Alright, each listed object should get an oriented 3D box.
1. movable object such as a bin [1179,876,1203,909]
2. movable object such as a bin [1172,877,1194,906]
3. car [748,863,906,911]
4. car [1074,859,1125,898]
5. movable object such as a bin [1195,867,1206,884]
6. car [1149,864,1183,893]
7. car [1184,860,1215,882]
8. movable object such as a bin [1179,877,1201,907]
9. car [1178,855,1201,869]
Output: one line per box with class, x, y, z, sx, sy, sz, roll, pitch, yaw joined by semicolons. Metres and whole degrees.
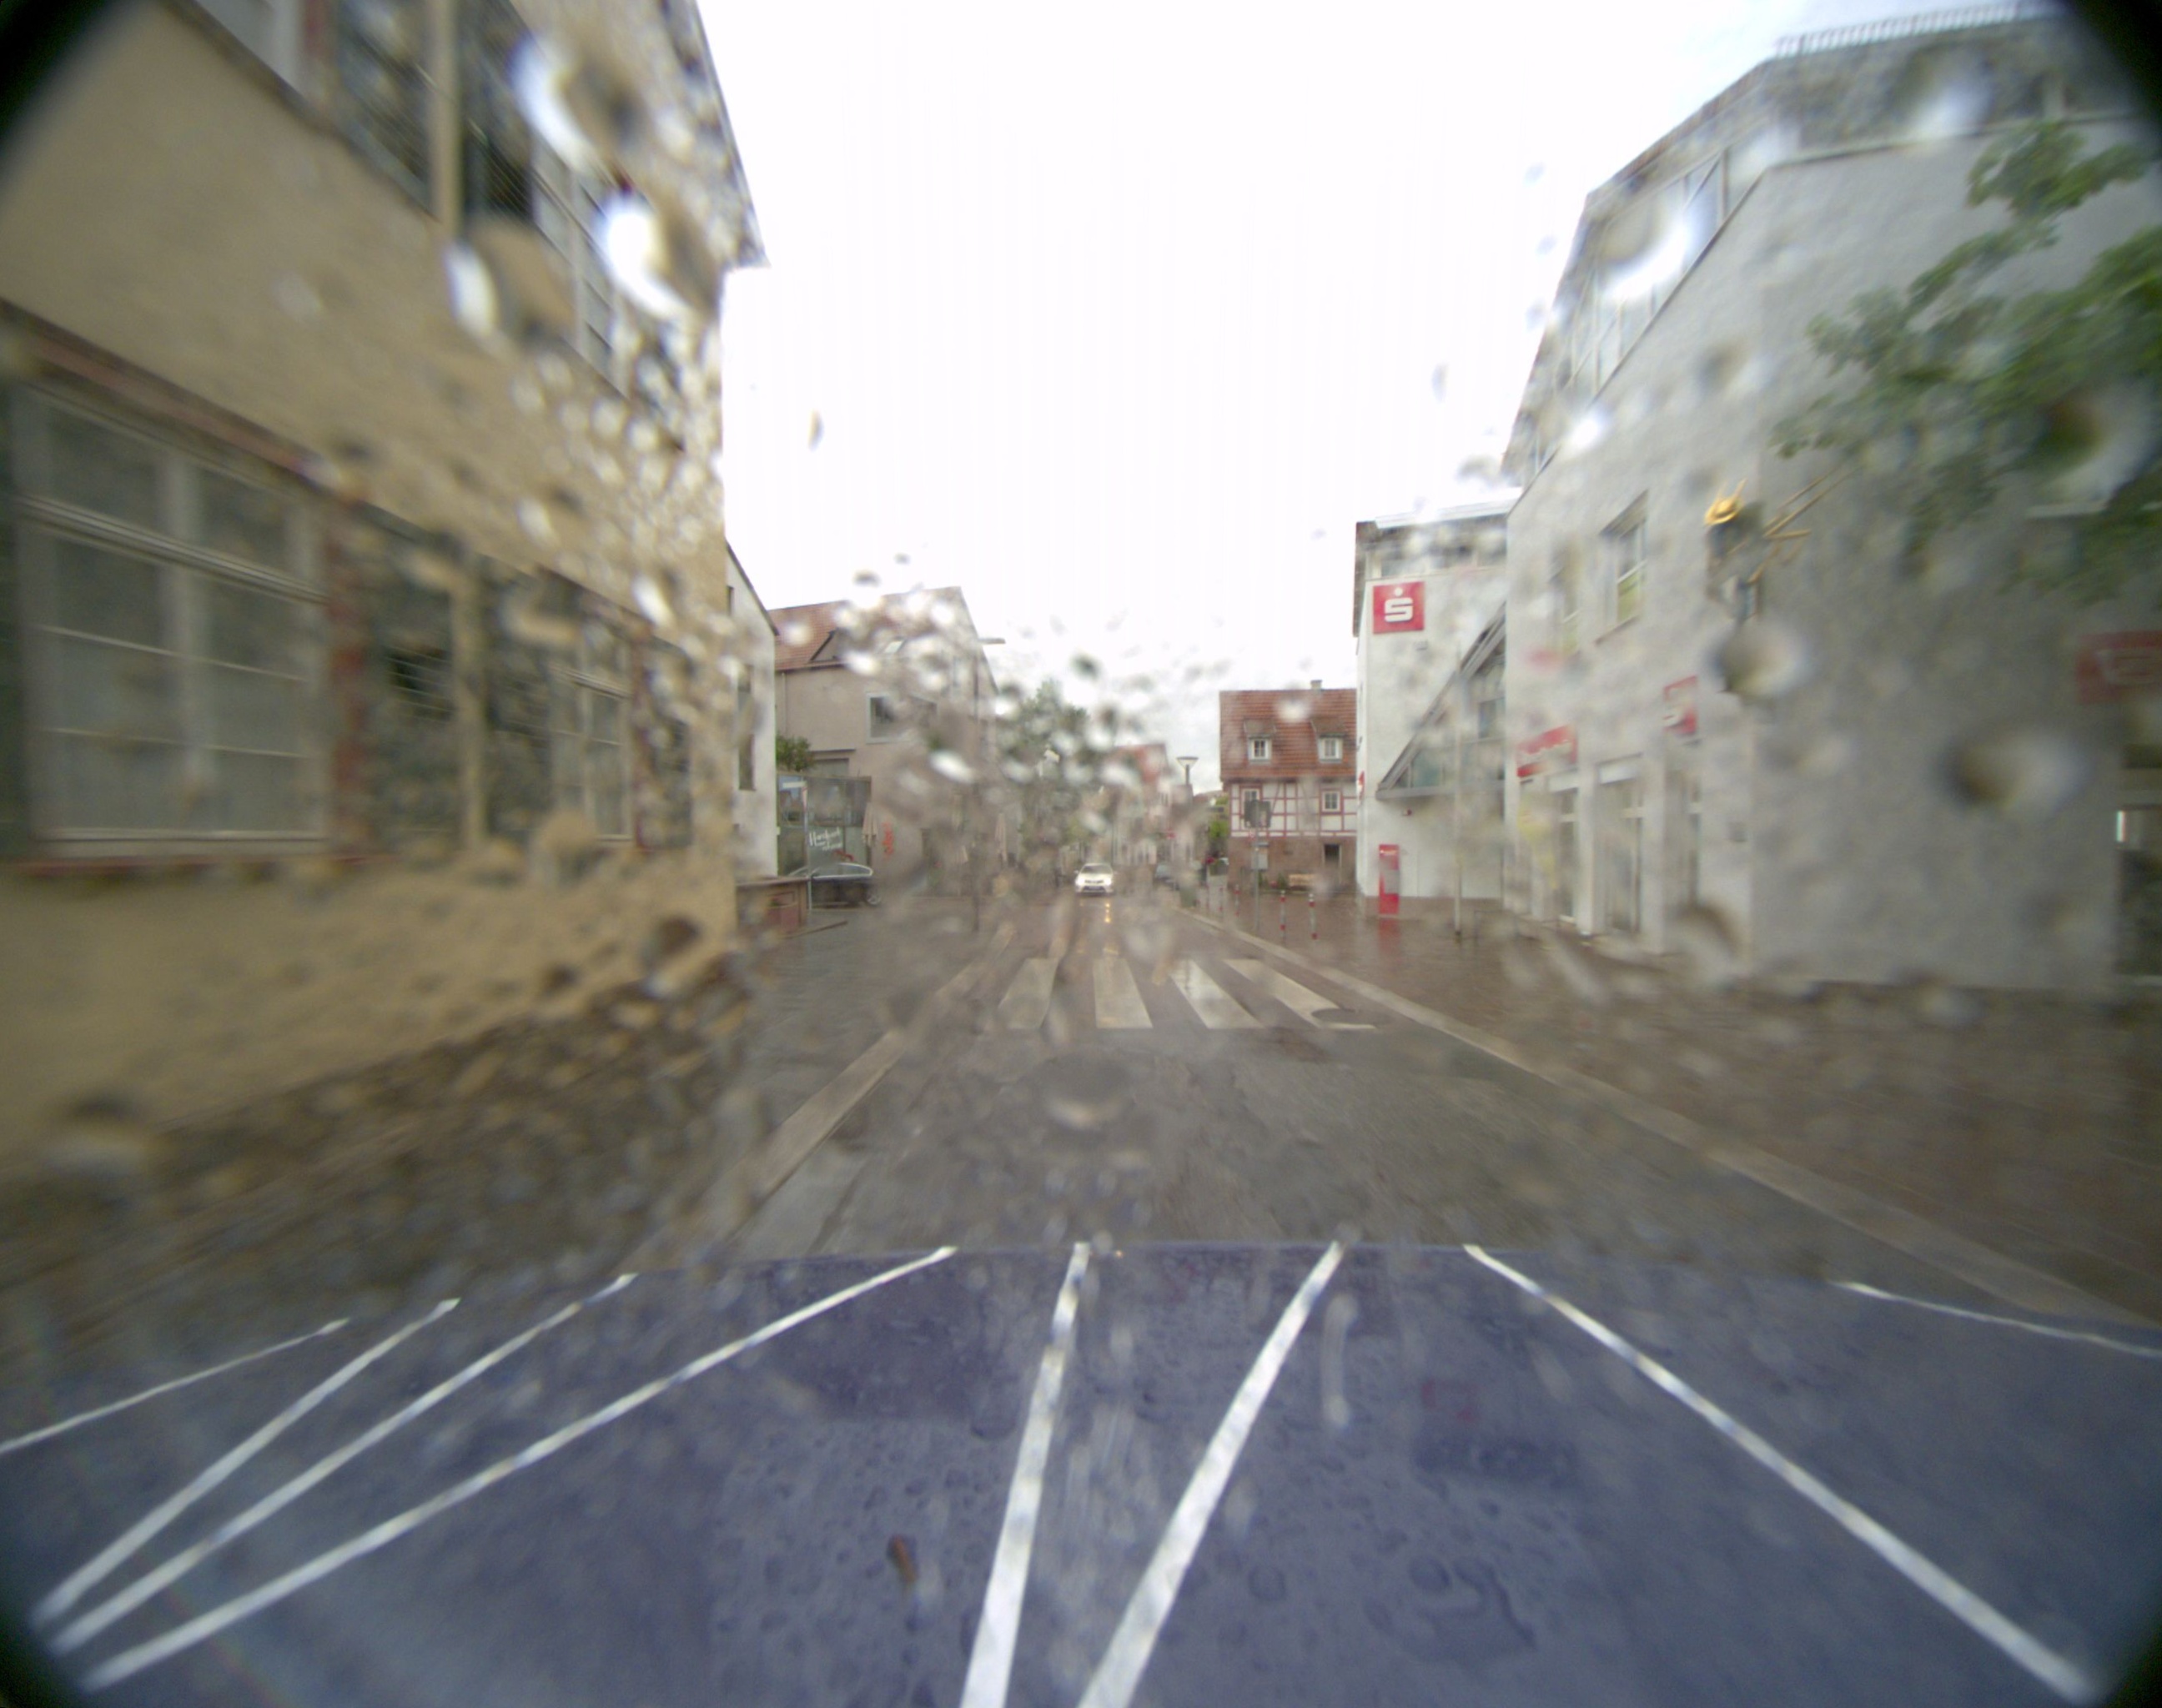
movable object such as a bin;3.808;1.331;26.255;0.697;1.070;0.645;-2;1;1
movable object such as a bin;3.735;1.366;27.862;0.697;1.041;0.645;1;1;1
car;-8.091;1.000;24.497;4.455;1.362;1.875;0;0;-42
car;0.909;1.053;34.494;1.867;1.577;4.617;1;0;7
movable object such as a bin;7.337;1.319;46.652;0.612;1.016;0.530;1;1;1
car;4.768;1.346;42.934;1.806;1.433;4.001;-1;0;5
car;8.742;1.208;55.803;1.805;1.433;4.004;-1;0;15
movable object such as a bin;3.886;1.348;27.072;0.697;1.045;0.645;1;1;1
car;11.700;0.795;81.796;1.865;1.452;4.005;1;0;16
